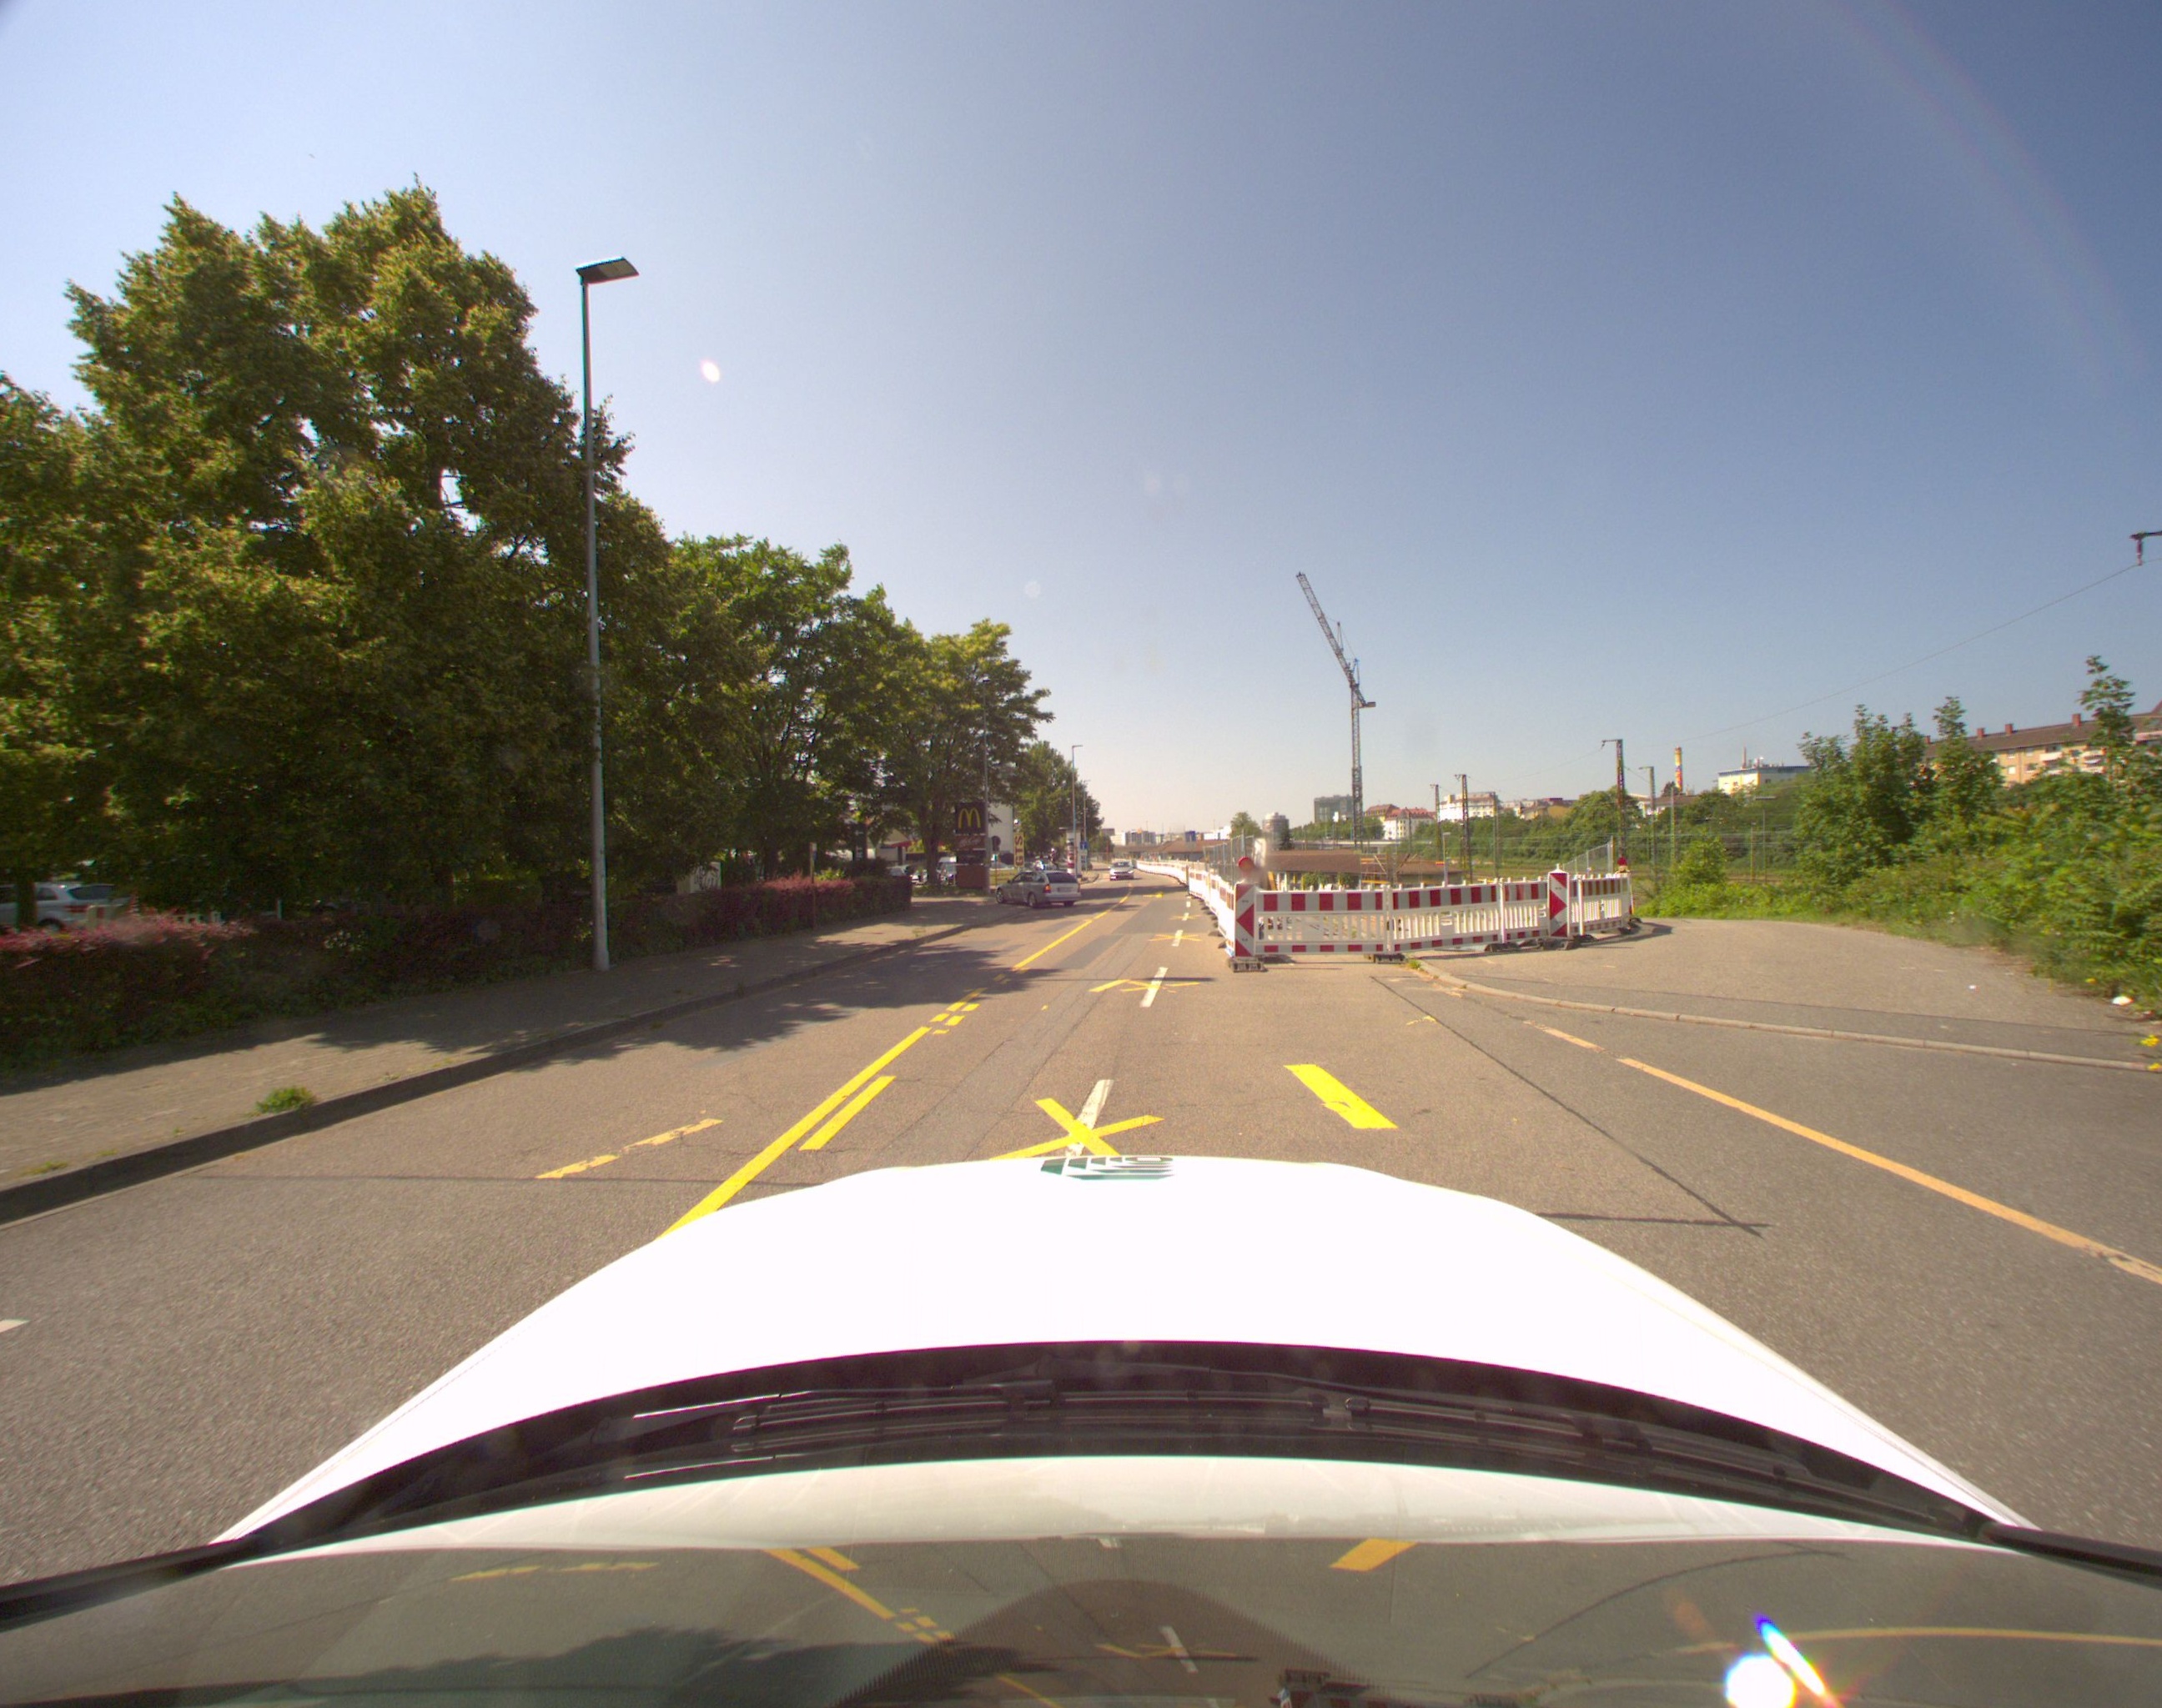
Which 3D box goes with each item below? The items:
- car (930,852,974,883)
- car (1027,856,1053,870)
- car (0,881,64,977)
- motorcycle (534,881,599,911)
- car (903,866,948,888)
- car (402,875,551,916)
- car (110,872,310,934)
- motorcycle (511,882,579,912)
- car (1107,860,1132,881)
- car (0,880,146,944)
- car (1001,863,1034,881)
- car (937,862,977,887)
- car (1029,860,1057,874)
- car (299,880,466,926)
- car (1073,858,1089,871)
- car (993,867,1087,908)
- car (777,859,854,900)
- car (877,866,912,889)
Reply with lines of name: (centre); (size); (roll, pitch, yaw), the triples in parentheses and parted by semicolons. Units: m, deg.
car: (-12.301, 1.308, 78.143); (2.264, 2.758, 6.166); (-3, -1, 8)
car: (-6.305, 1.386, 124.388); (3.919, 1.959, 1.755); (-1, -1, -7)
car: (-19.045, 1.262, 11.764); (2.055, 1.560, 5.044); (-2, -1, 10)
motorcycle: (-21.146, 1.721, 33.534); (2.183, 1.132, 0.566); (-1, -1, -20)
car: (-13.272, 1.945, 69.771); (1.895, 1.575, 4.705); (-2, 0, 14)
car: (-22.355, 1.521, 30.250); (4.074, 1.387, 1.767); (-1, 0, -5)
car: (-26.573, 1.466, 24.969); (4.003, 1.732, 1.799); (-1, -1, -5)
motorcycle: (-21.443, 1.722, 32.640); (2.183, 1.116, 0.566); (-1, -1, -20)
car: (2.992, 1.249, 63.646); (1.672, 1.493, 4.605); (-3, -1, 0)
car: (-28.471, 1.568, 22.188); (3.831, 1.588, 1.640); (-1, -1, -6)
car: (-5.867, 1.630, 74.535); (1.844, 1.473, 3.970); (-5, 0, -22)
car: (-9.568, 1.580, 62.554); (2.051, 1.707, 4.283); (-3, -2, -21)
car: (-4.575, 1.589, 96.851); (1.786, 1.473, 3.964); (-4, 0, -27)
car: (-23.429, 1.620, 27.419); (4.051, 1.395, 1.625); (-1, -1, -5)
car: (0.083, 1.448, 112.583); (1.861, 1.498, 4.036); (-3, 1, 4)
car: (-1.654, 1.261, 31.178); (1.719, 1.404, 4.343); (-2, -1, -31)
car: (-15.192, 1.458, 46.504); (4.466, 1.920, 1.905); (-6, 0, 39)
car: (-14.571, 1.813, 63.531); (1.813, 1.656, 4.280); (-3, 0, -24)
